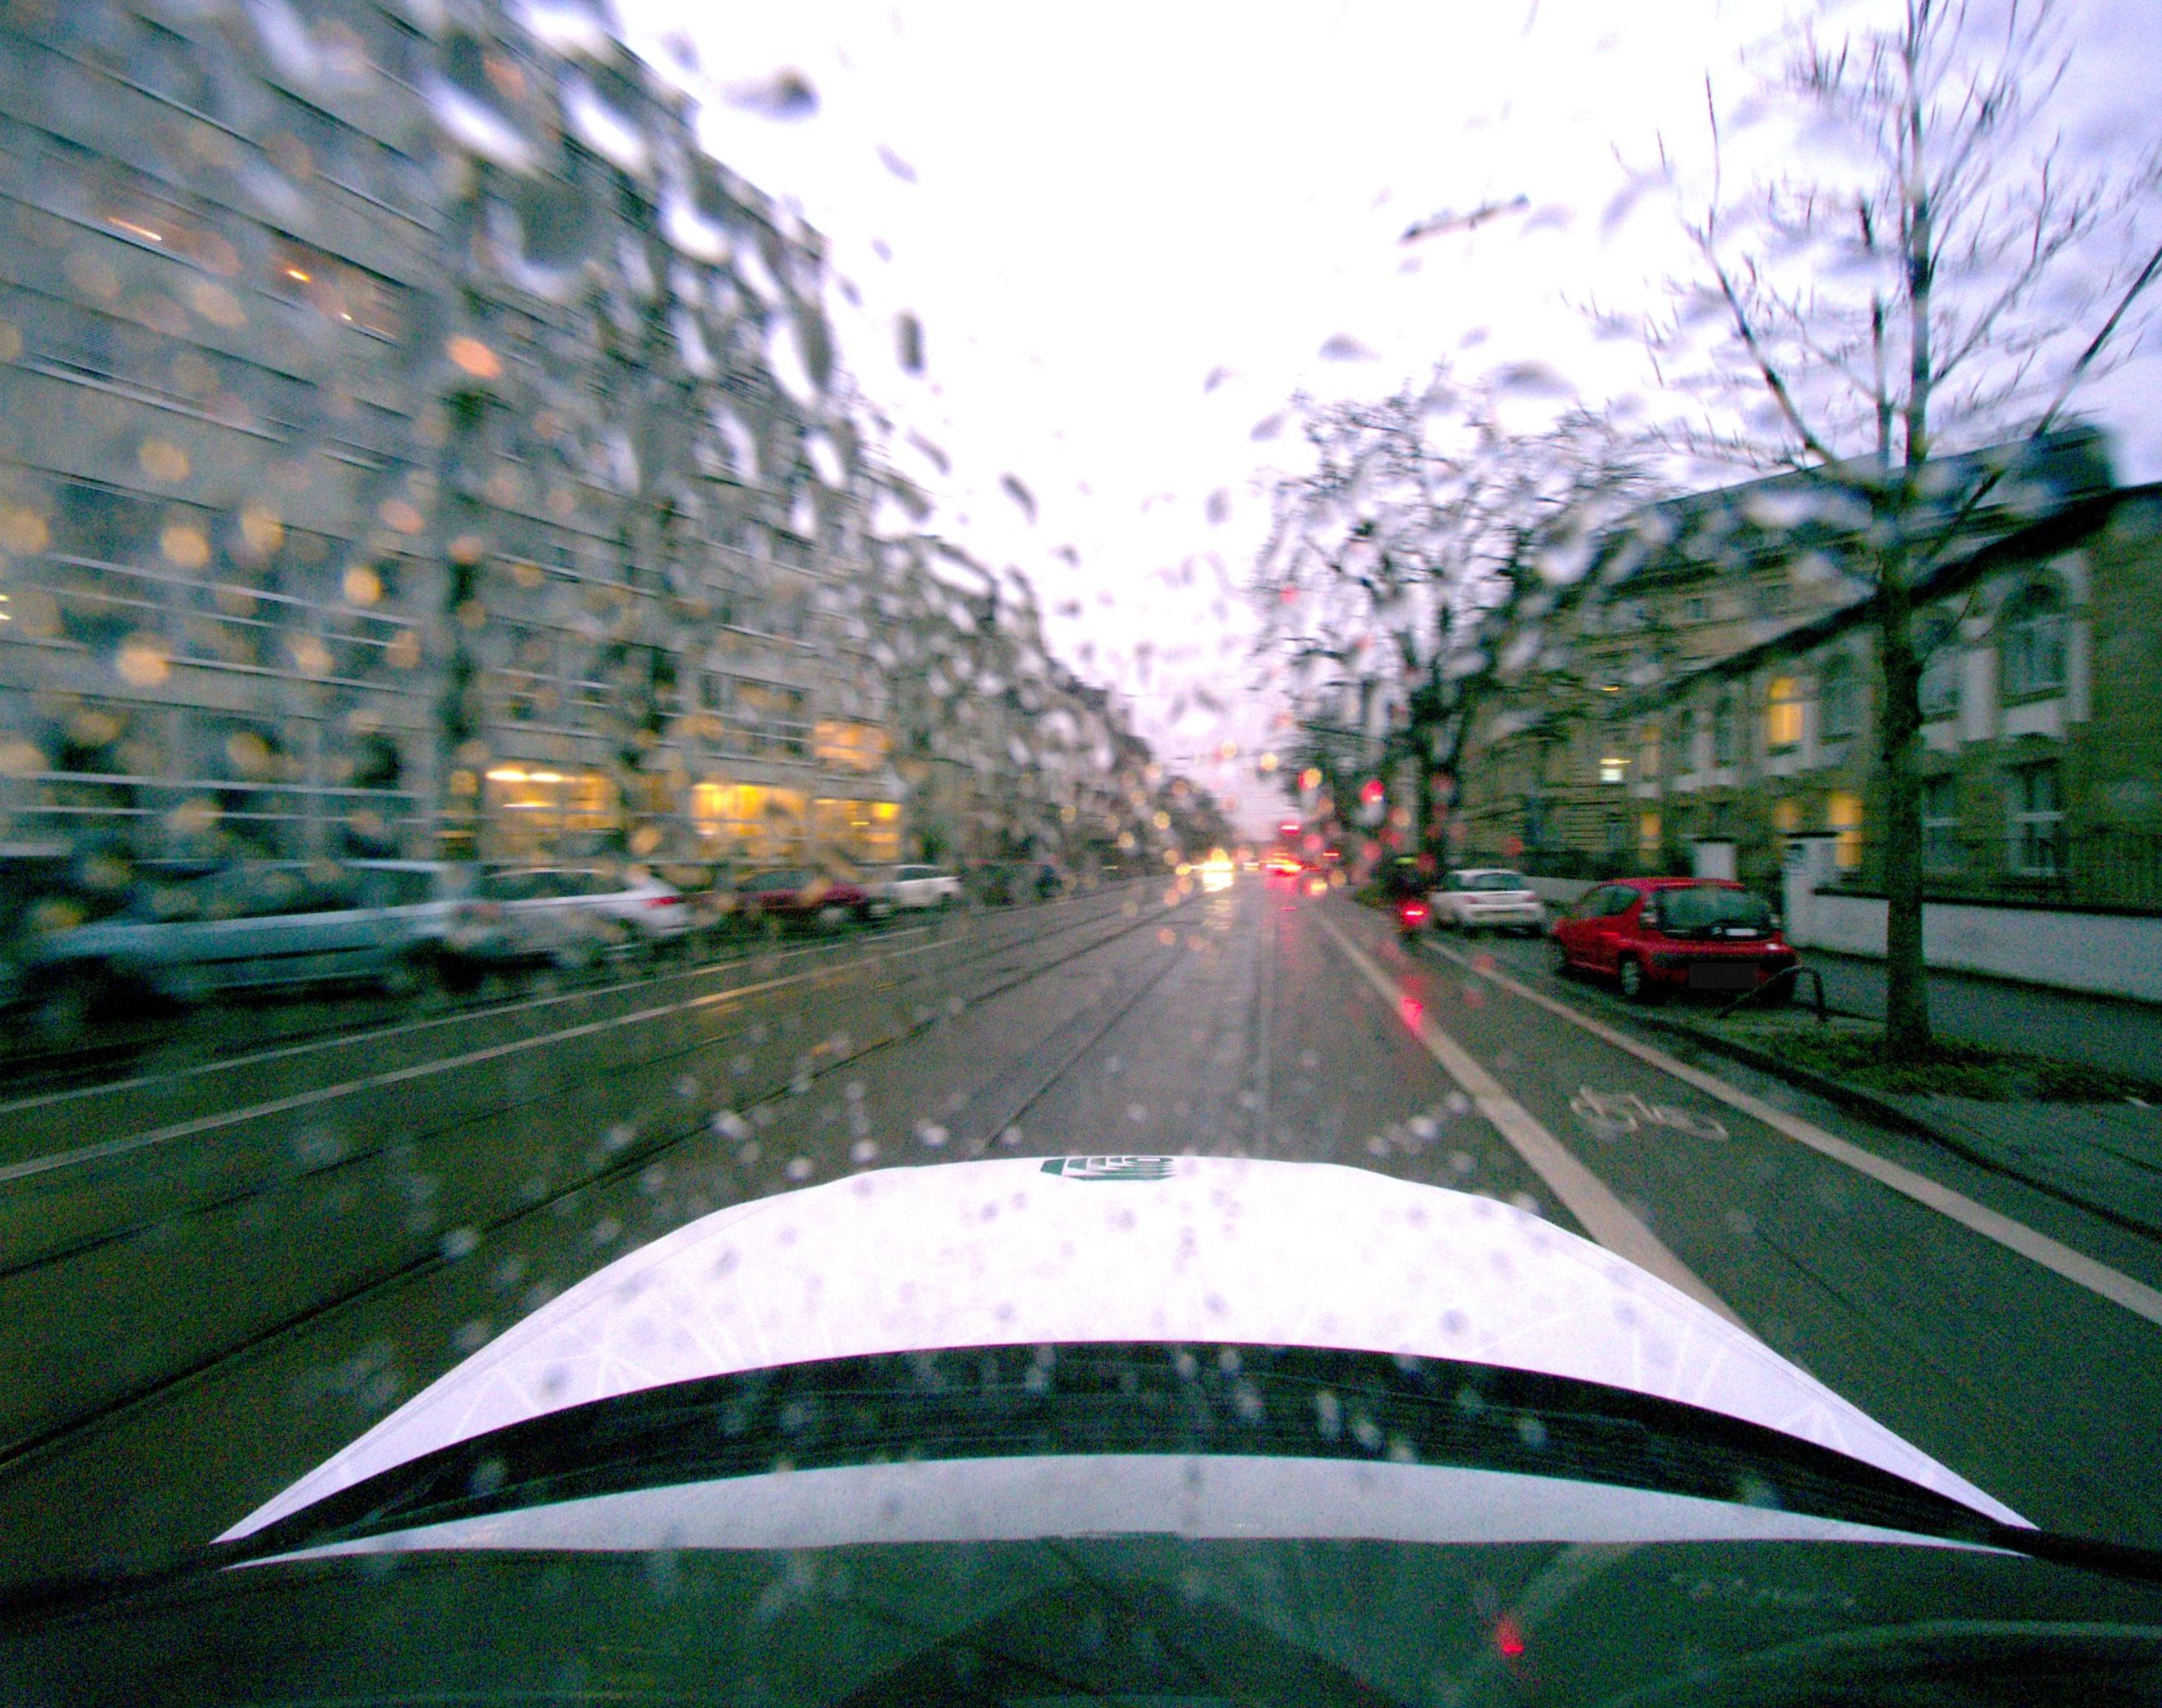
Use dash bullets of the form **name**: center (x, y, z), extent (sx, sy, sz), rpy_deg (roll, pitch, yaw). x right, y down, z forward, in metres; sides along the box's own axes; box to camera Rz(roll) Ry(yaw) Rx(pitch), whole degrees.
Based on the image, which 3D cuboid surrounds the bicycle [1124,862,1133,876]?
- **bicycle**: center (3.728, 1.178, 63.516), extent (0.689, 1.031, 1.598), rpy_deg (0, -2, 4)

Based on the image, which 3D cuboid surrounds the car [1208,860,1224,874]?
- **car**: center (18.855, 1.789, 113.843), extent (2.033, 1.922, 5.116), rpy_deg (0, 0, 11)

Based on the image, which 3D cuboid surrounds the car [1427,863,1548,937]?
- **car**: center (9.382, 0.985, 19.093), extent (1.680, 1.520, 3.649), rpy_deg (0, 0, 12)

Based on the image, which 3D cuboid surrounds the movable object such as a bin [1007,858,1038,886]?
- **movable object such as a bin**: center (-3.160, 0.956, 44.257), extent (1.252, 1.450, 1.332), rpy_deg (0, 0, 20)

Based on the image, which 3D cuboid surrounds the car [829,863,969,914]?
- **car**: center (-5.565, 1.004, 25.070), extent (3.867, 1.423, 1.719), rpy_deg (0, 0, -33)

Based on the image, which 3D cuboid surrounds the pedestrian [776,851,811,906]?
- **pedestrian**: center (-9.001, 0.761, 25.520), extent (0.593, 1.677, 0.976), rpy_deg (0, 0, 13)

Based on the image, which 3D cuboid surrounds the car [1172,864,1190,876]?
- **car**: center (12.803, 2.020, 104.019), extent (1.821, 1.447, 4.014), rpy_deg (0, 0, 13)

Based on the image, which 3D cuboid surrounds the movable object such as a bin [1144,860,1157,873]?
- **movable object such as a bin**: center (8.474, 1.477, 99.200), extent (1.399, 1.530, 1.369), rpy_deg (0, 0, 13)

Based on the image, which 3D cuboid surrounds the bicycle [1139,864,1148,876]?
- **bicycle**: center (5.547, 1.439, 72.339), extent (0.621, 1.017, 1.811), rpy_deg (-1, 0, 12)

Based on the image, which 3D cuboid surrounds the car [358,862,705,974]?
- **car**: center (-7.942, 0.870, 12.257), extent (4.001, 1.444, 1.725), rpy_deg (0, -1, -21)

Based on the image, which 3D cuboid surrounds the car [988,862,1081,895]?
- **car**: center (-2.171, 1.106, 38.224), extent (4.012, 1.428, 1.831), rpy_deg (0, 0, -30)

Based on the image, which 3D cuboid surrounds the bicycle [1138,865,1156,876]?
- **bicycle**: center (6.719, 1.708, 83.392), extent (1.795, 1.080, 0.617), rpy_deg (0, 0, 6)

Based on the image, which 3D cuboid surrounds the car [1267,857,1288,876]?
- **car**: center (20.835, 1.374, 86.442), extent (1.980, 1.897, 4.774), rpy_deg (1, -1, 12)

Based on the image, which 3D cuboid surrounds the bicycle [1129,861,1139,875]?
- **bicycle**: center (4.401, 1.166, 67.402), extent (0.483, 1.099, 1.937), rpy_deg (-1, -1, 12)

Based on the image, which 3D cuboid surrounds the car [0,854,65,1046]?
- **car**: center (-10.412, 0.785, 5.621), extent (3.890, 1.551, 1.676), rpy_deg (0, 0, -32)

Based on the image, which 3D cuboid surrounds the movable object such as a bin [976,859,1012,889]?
- **movable object such as a bin**: center (-4.279, 0.973, 40.153), extent (1.252, 1.450, 1.332), rpy_deg (0, 0, 20)

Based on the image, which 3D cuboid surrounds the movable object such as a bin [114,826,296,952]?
- **movable object such as a bin**: center (-13.740, 0.507, 12.828), extent (1.558, 1.860, 1.323), rpy_deg (0, 1, 14)

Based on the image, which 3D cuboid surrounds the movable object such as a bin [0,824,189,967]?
- **movable object such as a bin**: center (-14.071, 0.532, 11.485), extent (1.558, 1.860, 1.399), rpy_deg (0, 1, 14)

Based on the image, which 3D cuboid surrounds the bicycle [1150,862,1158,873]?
- **bicycle**: center (7.003, 1.291, 77.846), extent (0.611, 1.080, 1.815), rpy_deg (0, 0, 8)

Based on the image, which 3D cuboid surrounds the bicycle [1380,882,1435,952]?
- **bicycle**: center (5.830, 1.086, 14.636), extent (0.702, 1.097, 2.037), rpy_deg (0, 0, 16)

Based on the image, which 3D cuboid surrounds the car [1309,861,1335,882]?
- **car**: center (23.015, 1.648, 77.886), extent (1.980, 1.900, 5.044), rpy_deg (0, 0, 12)

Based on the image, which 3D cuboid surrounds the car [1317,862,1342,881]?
- **car**: center (20.318, 1.437, 66.750), extent (1.666, 1.460, 4.056), rpy_deg (0, 0, 12)

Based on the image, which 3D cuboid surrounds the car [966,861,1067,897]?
- **car**: center (-2.789, 1.026, 35.386), extent (4.014, 1.471, 1.813), rpy_deg (0, 0, -32)

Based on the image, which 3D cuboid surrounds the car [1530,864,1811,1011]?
- **car**: center (7.473, 0.935, 10.775), extent (1.633, 1.523, 3.583), rpy_deg (1, 0, 10)

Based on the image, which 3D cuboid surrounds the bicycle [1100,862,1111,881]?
- **bicycle**: center (1.636, 1.164, 54.840), extent (0.689, 1.212, 1.598), rpy_deg (0, 0, 4)

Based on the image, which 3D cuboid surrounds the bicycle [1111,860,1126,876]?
- **bicycle**: center (2.756, 1.026, 59.494), extent (0.686, 1.031, 1.602), rpy_deg (-1, -4, 18)

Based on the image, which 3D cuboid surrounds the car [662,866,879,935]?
- **car**: center (-7.045, 0.981, 18.680), extent (4.366, 1.352, 1.731), rpy_deg (0, -1, -36)

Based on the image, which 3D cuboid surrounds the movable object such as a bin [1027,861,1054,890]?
- **movable object such as a bin**: center (-2.094, 1.070, 41.541), extent (1.263, 1.450, 1.108), rpy_deg (0, 0, -9)

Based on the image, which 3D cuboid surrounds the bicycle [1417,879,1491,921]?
- **bicycle**: center (9.983, 1.226, 21.831), extent (1.701, 1.071, 0.665), rpy_deg (0, 0, 13)

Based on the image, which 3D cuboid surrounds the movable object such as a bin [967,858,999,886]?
- **movable object such as a bin**: center (-5.212, 0.971, 43.396), extent (1.252, 1.450, 1.332), rpy_deg (0, 0, 20)

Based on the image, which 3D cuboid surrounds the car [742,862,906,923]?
- **car**: center (-6.797, 0.981, 21.616), extent (4.003, 1.463, 1.724), rpy_deg (0, -1, -22)

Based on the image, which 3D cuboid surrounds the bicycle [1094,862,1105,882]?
- **bicycle**: center (1.211, 1.138, 52.344), extent (0.626, 1.212, 1.598), rpy_deg (0, 0, 4)

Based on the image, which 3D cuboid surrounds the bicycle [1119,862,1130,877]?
- **bicycle**: center (3.299, 1.146, 61.392), extent (0.688, 1.031, 1.599), rpy_deg (-1, -4, 8)

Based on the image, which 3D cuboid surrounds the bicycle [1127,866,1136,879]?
- **bicycle**: center (4.095, 1.452, 65.547), extent (0.689, 1.031, 1.598), rpy_deg (0, -1, 4)

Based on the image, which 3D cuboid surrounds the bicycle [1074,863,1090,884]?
- **bicycle**: center (0.060, 1.158, 47.997), extent (0.688, 1.212, 1.600), rpy_deg (0, 0, 8)

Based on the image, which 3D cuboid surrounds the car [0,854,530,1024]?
- **car**: center (-8.861, 0.799, 9.381), extent (4.011, 1.563, 1.720), rpy_deg (0, 0, -29)

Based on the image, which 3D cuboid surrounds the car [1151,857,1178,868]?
- **car**: center (13.195, 1.312, 128.890), extent (3.958, 1.728, 1.746), rpy_deg (0, 0, 14)

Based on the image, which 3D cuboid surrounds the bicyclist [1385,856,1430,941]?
- **bicyclist**: center (5.798, 0.770, 14.490), extent (0.651, 1.446, 0.853), rpy_deg (0, 0, 16)

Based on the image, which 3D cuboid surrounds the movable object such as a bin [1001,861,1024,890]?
- **movable object such as a bin**: center (-3.492, 1.070, 41.377), extent (1.088, 1.450, 1.108), rpy_deg (0, 0, -9)

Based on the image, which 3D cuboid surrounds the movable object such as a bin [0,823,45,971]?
- **movable object such as a bin**: center (-14.398, 0.553, 10.120), extent (1.558, 1.860, 1.323), rpy_deg (0, 1, 14)
